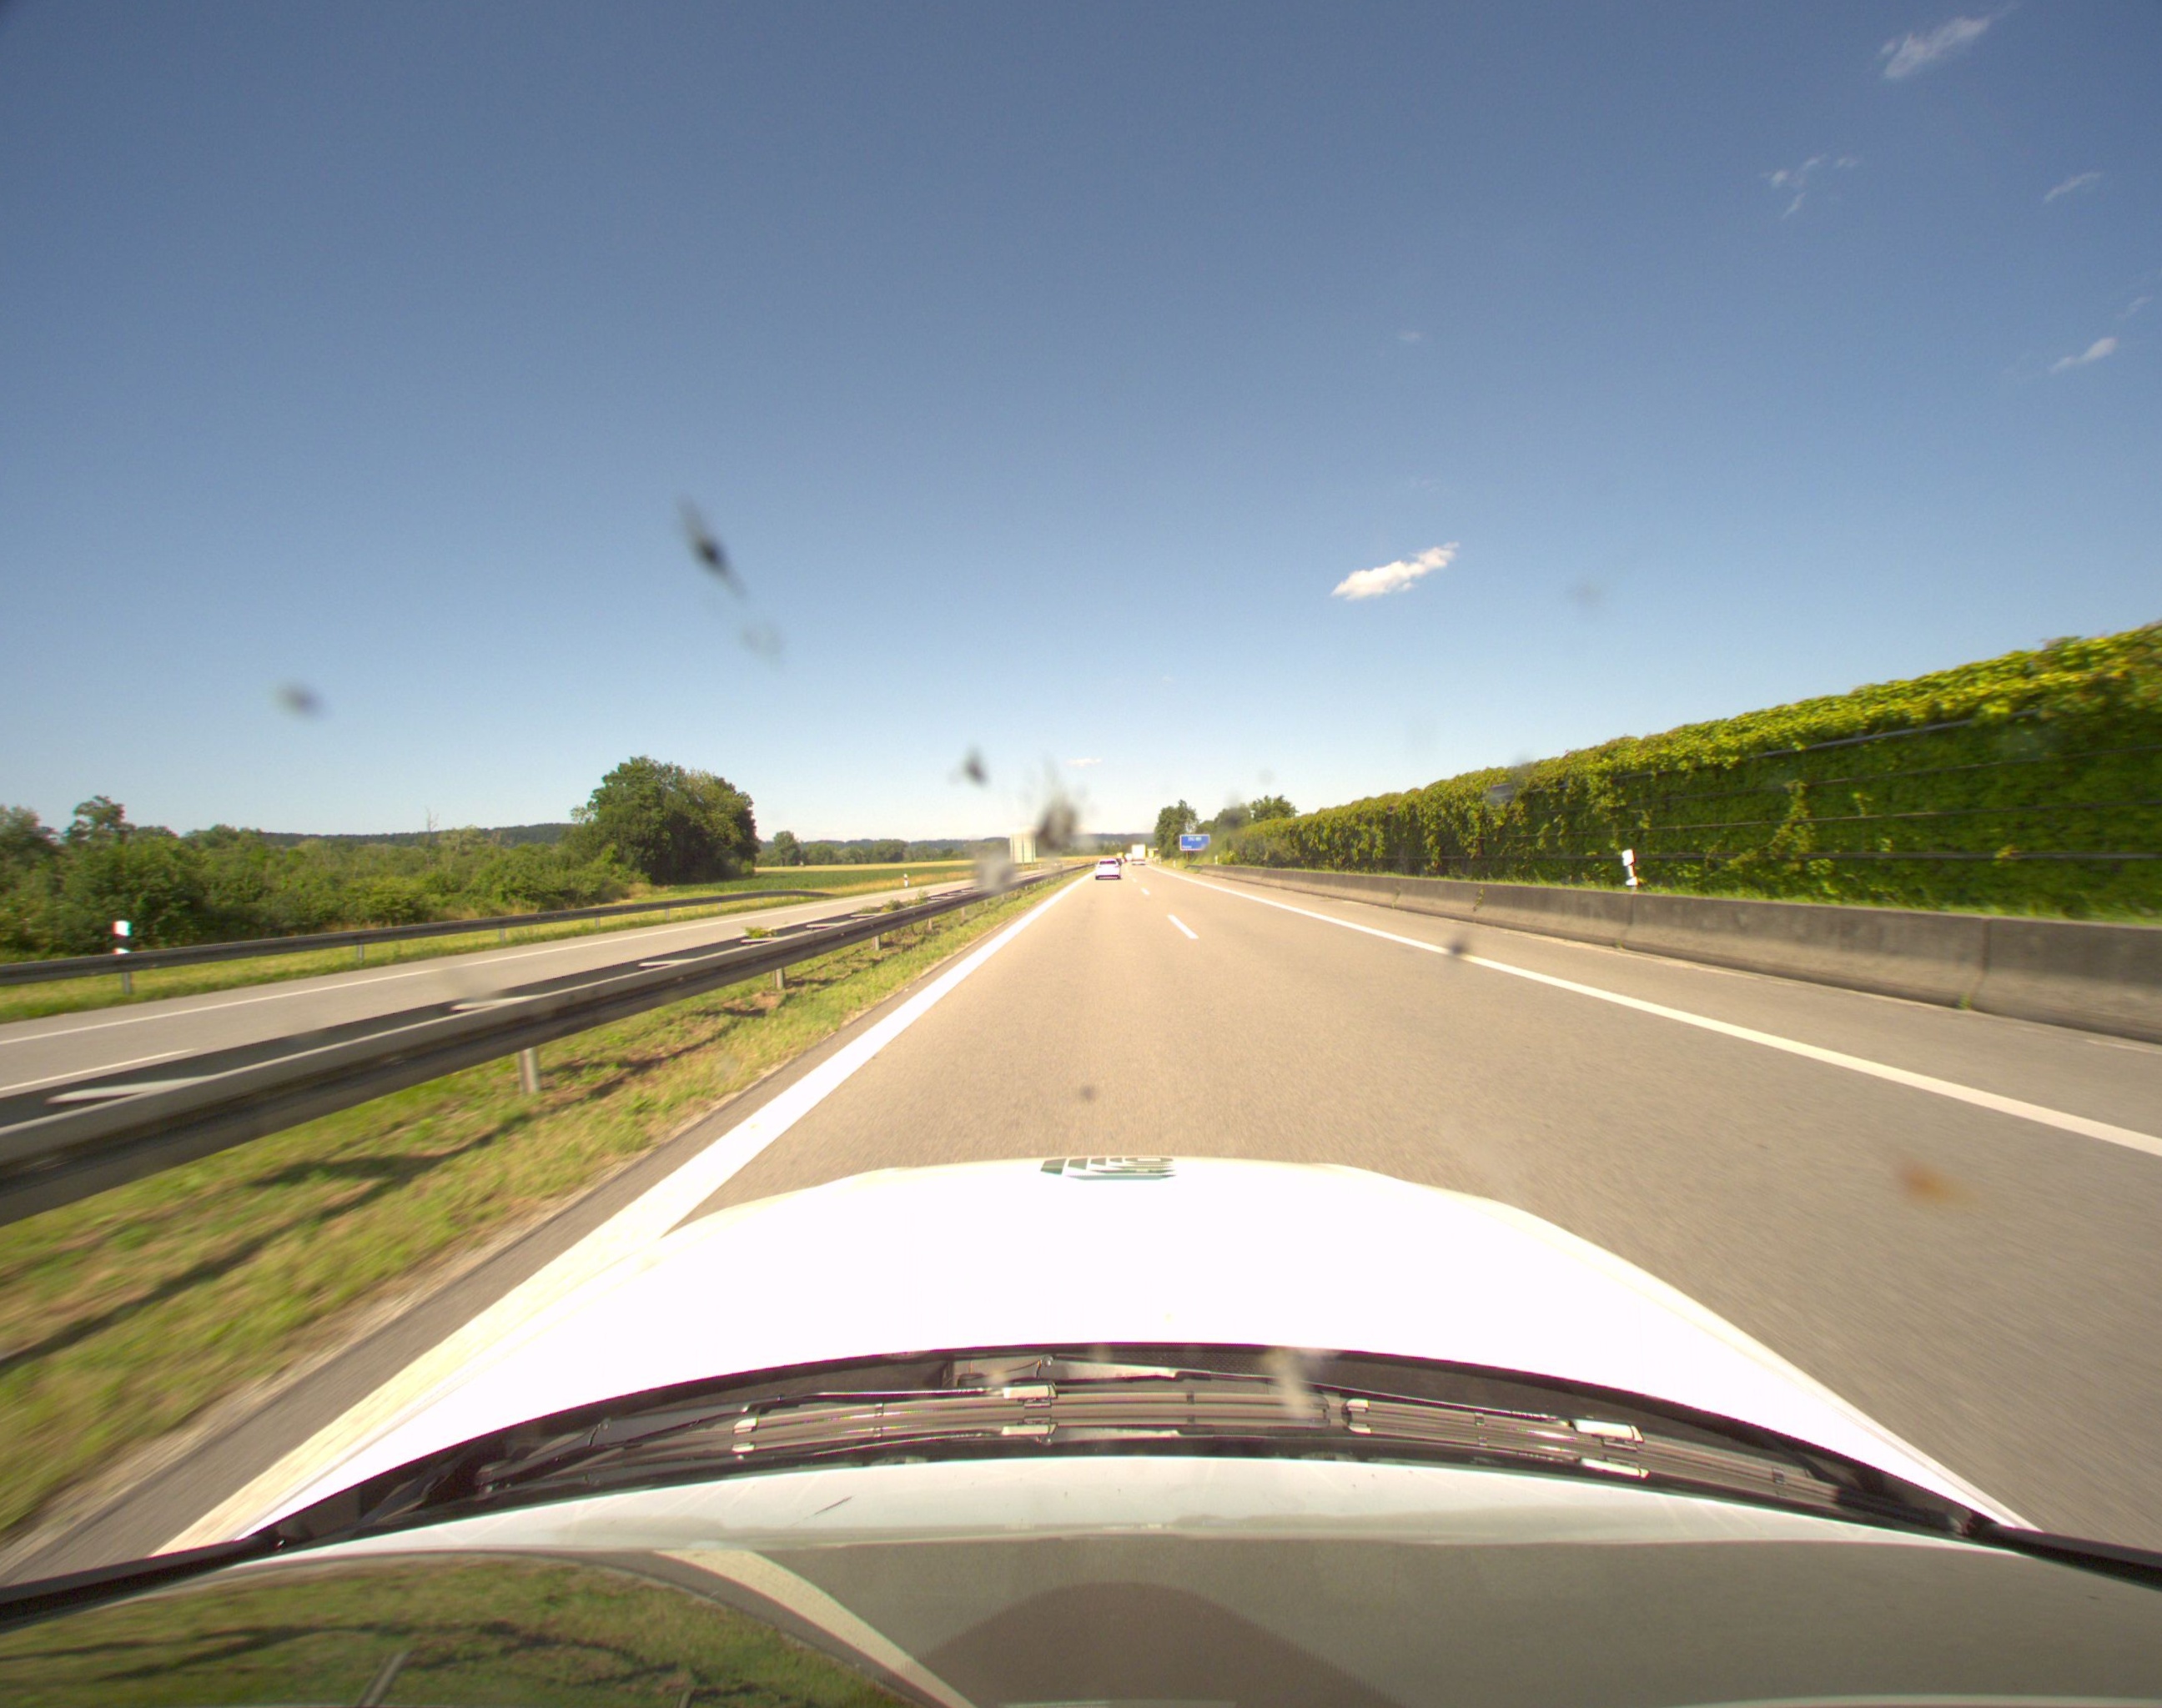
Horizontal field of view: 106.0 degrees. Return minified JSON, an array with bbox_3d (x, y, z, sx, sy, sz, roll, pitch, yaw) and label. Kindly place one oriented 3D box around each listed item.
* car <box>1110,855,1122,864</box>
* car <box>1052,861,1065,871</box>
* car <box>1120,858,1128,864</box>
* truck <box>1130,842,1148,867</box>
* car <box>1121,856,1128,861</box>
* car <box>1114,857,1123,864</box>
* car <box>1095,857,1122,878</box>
[{"bbox_3d":[5.629,0.934,130.045,1.764,1.421,4.499,-1,0,3],"label":"car"},{"bbox_3d":[-4.108,2.254,149.466,1.986,1.661,4.778,-4,0,2],"label":"car"},{"bbox_3d":[11.082,1.766,209.442,1.763,1.421,4.370,-1,0,4],"label":"car"},{"bbox_3d":[11.492,0.097,161.486,3.140,4.612,8.910,-2,0,2],"label":"truck"},{"bbox_3d":[12.296,1.220,228.349,1.763,1.421,4.371,-1,0,5],"label":"car"},{"bbox_3d":[7.862,1.335,170.705,1.763,1.421,4.370,-1,0,4],"label":"car"},{"bbox_3d":[1.956,0.918,58.296,1.833,1.421,5.257,-1,0,2],"label":"car"}]
